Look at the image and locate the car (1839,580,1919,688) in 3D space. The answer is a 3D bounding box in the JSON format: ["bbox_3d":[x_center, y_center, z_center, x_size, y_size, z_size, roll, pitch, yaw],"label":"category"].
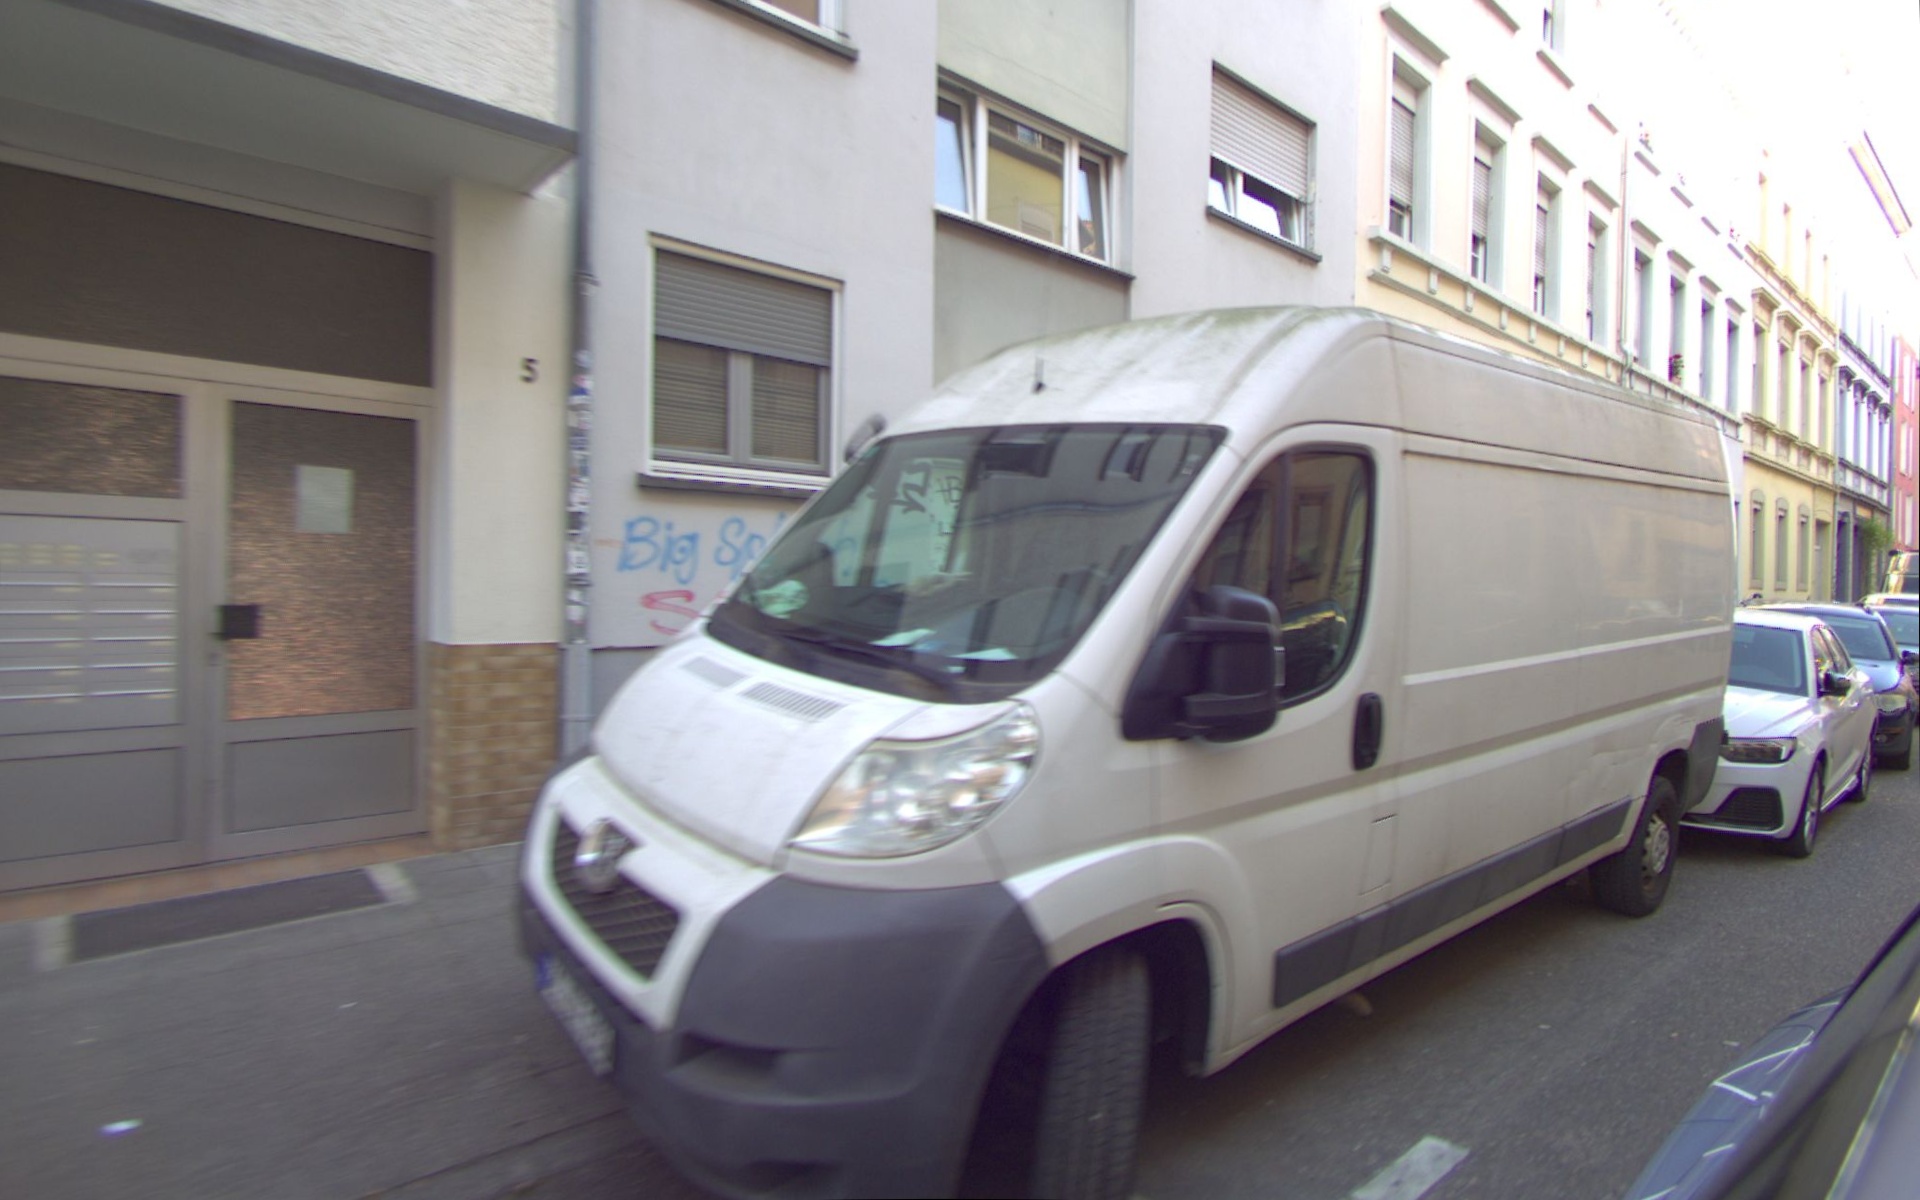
[{"bbox_3d":[16.429,0.531,17.149,4.298,1.627,1.697,0,3,-41],"label":"car"}]

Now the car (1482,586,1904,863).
[{"bbox_3d":[5.457,0.657,7.357,3.767,1.447,1.728,0,2,-42],"label":"car"}]

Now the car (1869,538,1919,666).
[{"bbox_3d":[21.089,0.057,21.269,6.200,2.455,2.179,0,3,-42],"label":"car"}]

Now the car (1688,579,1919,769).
[{"bbox_3d":[9.085,0.620,10.754,1.810,1.496,4.542,6,4,39],"label":"car"}]

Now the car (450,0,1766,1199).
[{"bbox_3d":[1.332,0.168,4.334,5.930,2.582,2.209,0,2,-41],"label":"car"}]

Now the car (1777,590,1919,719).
[{"bbox_3d":[12.756,0.650,13.851,4.169,1.504,1.749,0,2,-41],"label":"car"}]
